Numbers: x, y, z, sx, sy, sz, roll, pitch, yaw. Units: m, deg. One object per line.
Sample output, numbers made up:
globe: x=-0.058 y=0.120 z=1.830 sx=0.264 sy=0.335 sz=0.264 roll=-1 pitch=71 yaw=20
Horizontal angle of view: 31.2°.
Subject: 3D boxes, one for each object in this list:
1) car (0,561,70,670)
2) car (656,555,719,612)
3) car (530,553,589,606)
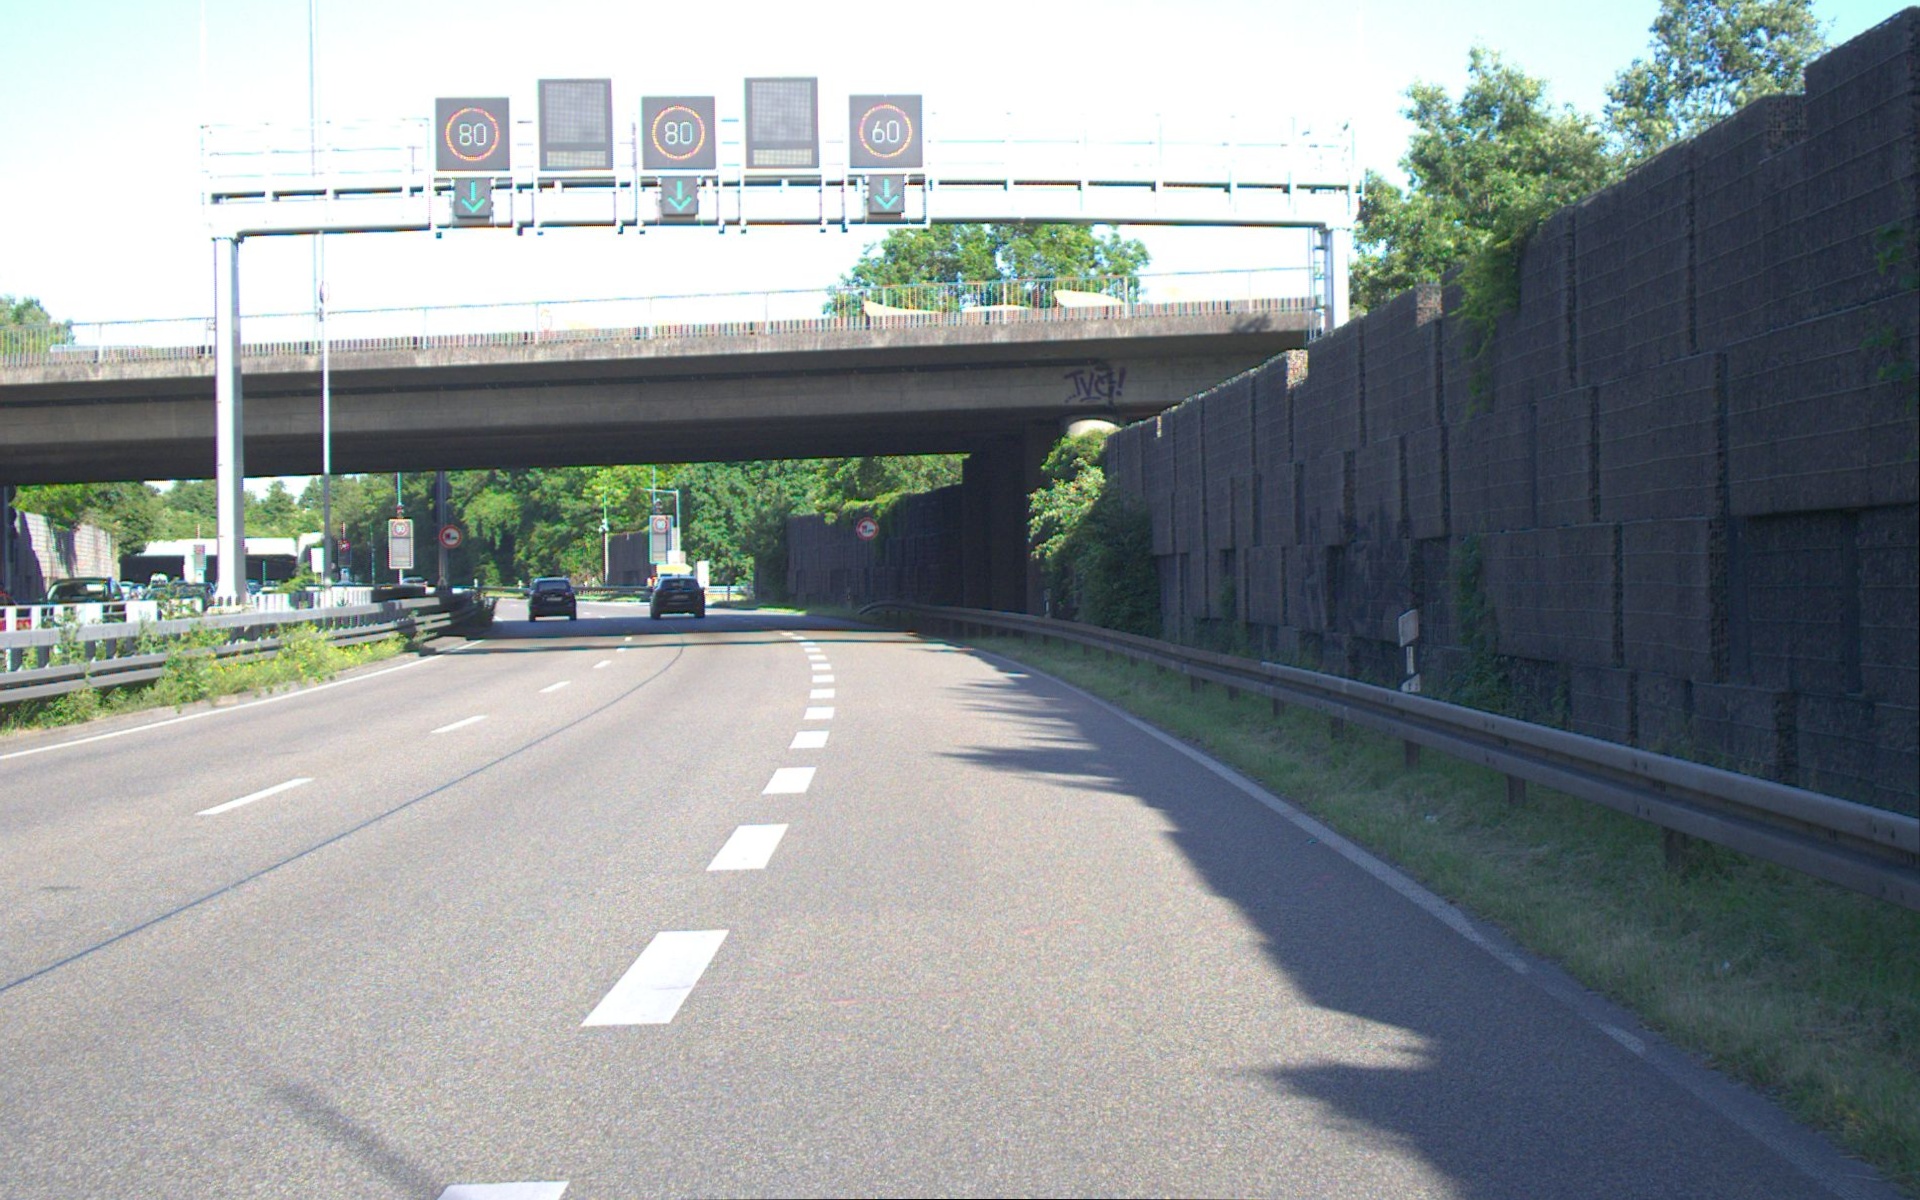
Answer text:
car: x=-15.531 y=0.269 z=53.701 sx=1.993 sy=1.635 sz=4.721 roll=-3 pitch=1 yaw=-1
car: x=-9.461 y=-0.586 z=119.532 sx=1.993 sy=1.919 sz=4.000 roll=0 pitch=1 yaw=-2
car: x=-14.638 y=-0.757 z=125.782 sx=1.993 sy=1.919 sz=4.001 roll=0 pitch=1 yaw=-4
